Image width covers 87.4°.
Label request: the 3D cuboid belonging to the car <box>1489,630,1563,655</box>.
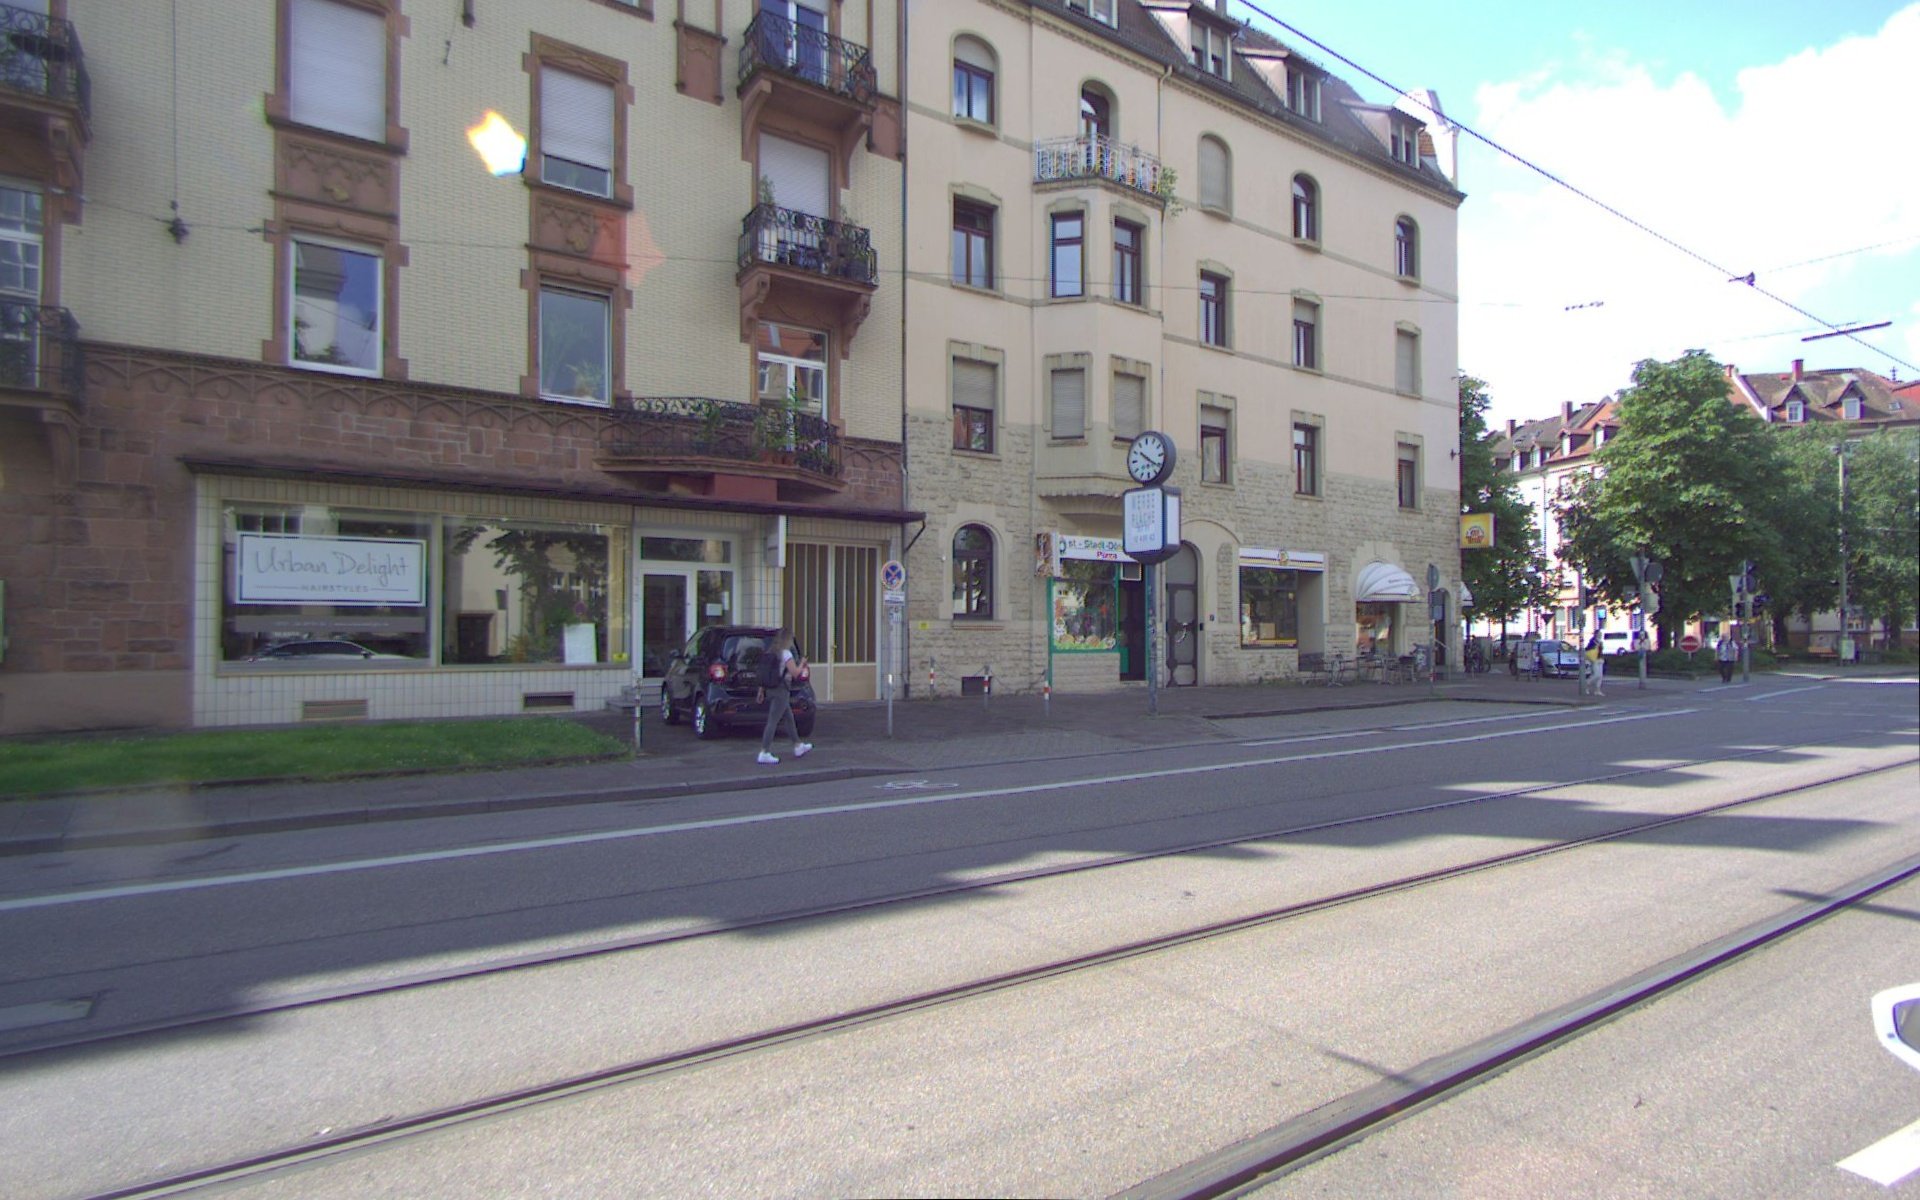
[{"bbox_3d":[38.168,2.857,67.821,1.976,1.617,3.970,1,-2,-29],"label":"car"}]

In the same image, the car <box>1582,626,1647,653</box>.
[{"bbox_3d":[48.317,2.880,74.279,1.962,1.929,3.997,0,-2,-6],"label":"car"}]

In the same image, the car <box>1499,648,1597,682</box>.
[{"bbox_3d":[22.619,2.473,38.811,1.645,1.198,4.002,0,-2,4],"label":"car"}]

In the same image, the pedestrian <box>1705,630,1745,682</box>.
[{"bbox_3d":[25.910,1.880,34.020,0.709,1.728,0.819,1,-2,-25],"label":"pedestrian"}]

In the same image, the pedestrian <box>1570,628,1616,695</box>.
[{"bbox_3d":[16.967,1.633,26.947,0.785,1.777,0.685,0,-2,1],"label":"pedestrian"}]

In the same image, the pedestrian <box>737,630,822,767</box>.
[{"bbox_3d":[-2.208,1.167,12.239,0.757,1.562,0.752,1,2,-33],"label":"pedestrian"}]

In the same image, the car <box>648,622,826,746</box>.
[{"bbox_3d":[-3.425,1.153,15.061,1.716,1.505,3.162,1,1,-30],"label":"car"}]
